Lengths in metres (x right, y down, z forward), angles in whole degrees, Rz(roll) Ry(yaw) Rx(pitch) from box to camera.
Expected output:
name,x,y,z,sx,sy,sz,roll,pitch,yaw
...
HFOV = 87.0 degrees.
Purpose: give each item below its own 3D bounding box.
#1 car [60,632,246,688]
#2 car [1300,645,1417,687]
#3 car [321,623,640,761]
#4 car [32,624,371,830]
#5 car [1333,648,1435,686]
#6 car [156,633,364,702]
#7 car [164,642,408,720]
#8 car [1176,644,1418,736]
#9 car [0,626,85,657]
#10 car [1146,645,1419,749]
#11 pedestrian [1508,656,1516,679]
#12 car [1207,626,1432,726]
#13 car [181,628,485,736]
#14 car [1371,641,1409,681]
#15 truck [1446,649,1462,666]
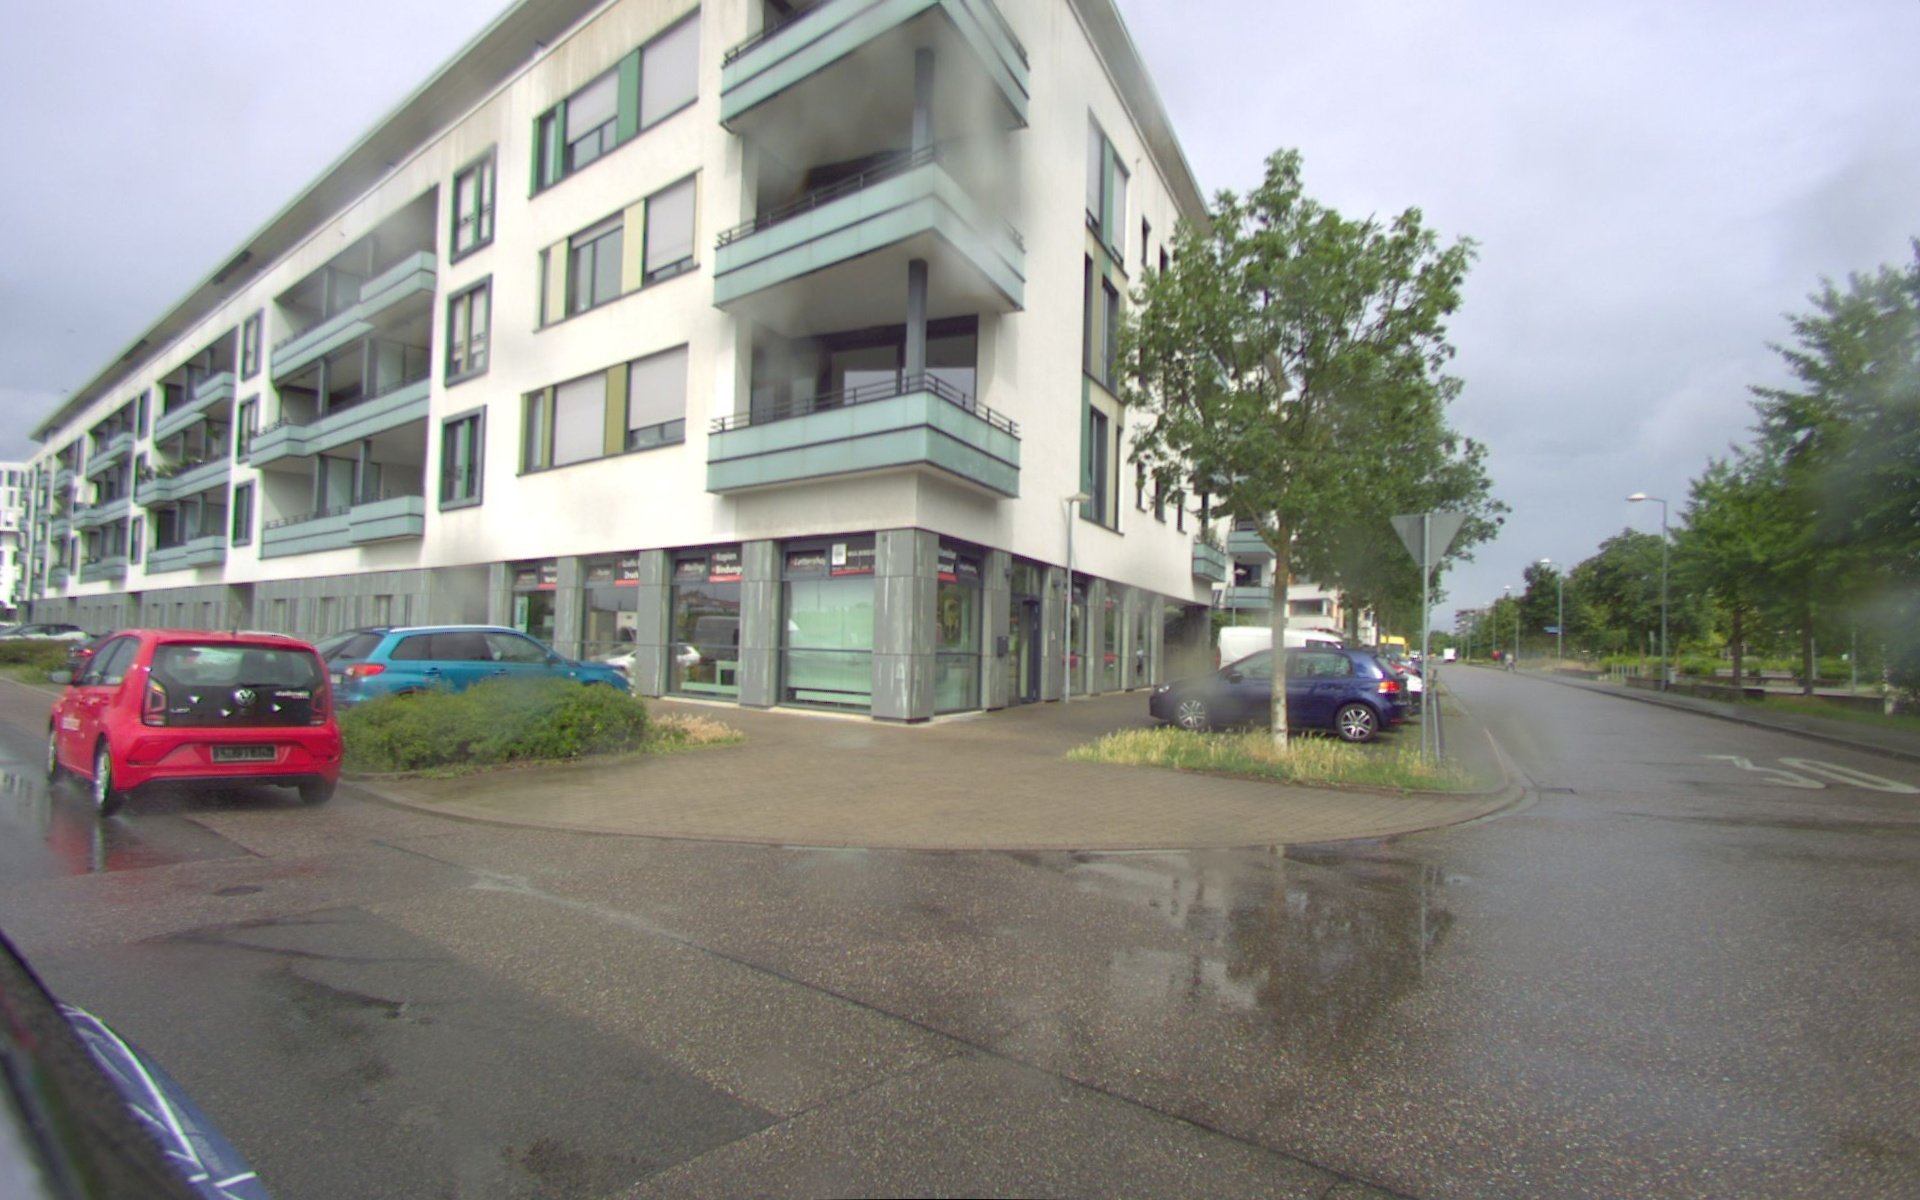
name,x,y,z,sx,sy,sz,roll,pitch,yaw
car,-21.789,1.565,27.426,1.644,1.383,3.692,-1,-2,41
car,15.453,2.523,39.328,4.159,1.407,1.630,1,-1,24
car,-6.758,1.186,14.519,1.755,1.646,3.768,-1,-1,43
car,-6.828,0.978,9.010,3.386,1.479,1.640,-1,-4,40
car,19.131,3.007,45.779,4.159,1.547,1.630,0,-3,24
car,-16.043,1.496,23.317,1.684,1.388,3.622,-2,-2,38
car,-12.607,1.462,19.096,1.538,1.192,3.568,-1,-1,40
car,6.255,1.609,18.862,4.103,1.407,1.675,1,-1,24
car,-43.976,1.942,47.822,1.743,1.381,3.750,-1,-1,40
car,5.358,1.543,16.923,4.162,1.407,1.630,1,-1,24
pedestrian,41.099,5.005,75.397,0.509,1.676,0.490,0,-3,26
car,7.588,1.535,21.482,4.323,1.849,1.630,1,-1,24
car,-10.728,1.305,17.550,1.858,1.561,4.130,-1,-1,40
car,31.318,4.365,73.531,1.958,2.633,6.577,1,-1,28
truck,78.869,9.138,161.620,1.965,2.371,6.404,-1,-1,23
